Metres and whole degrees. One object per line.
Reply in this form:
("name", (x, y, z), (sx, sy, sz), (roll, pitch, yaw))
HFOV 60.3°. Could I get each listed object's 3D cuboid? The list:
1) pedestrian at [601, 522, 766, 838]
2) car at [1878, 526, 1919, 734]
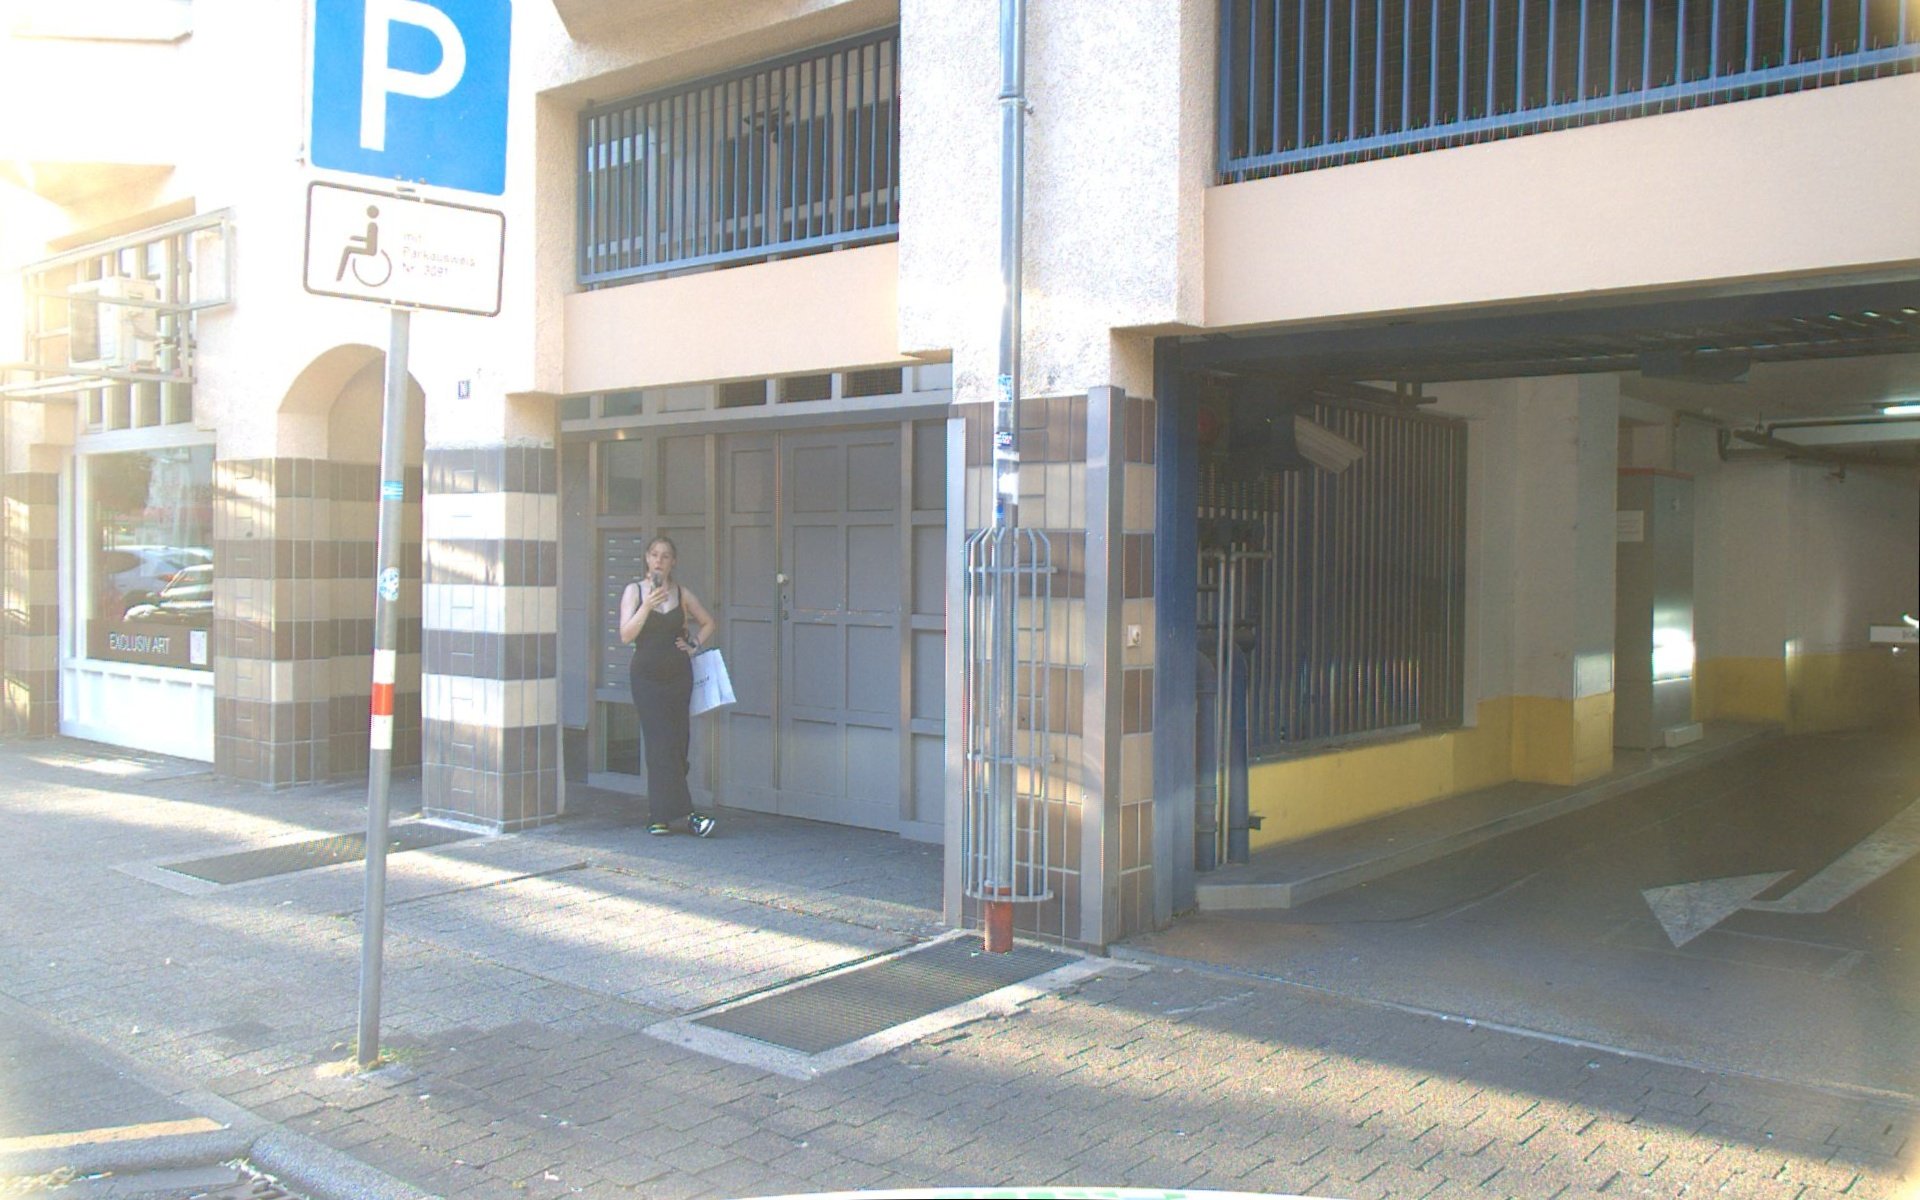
("pedestrian", (-1.472, 0.399, 8.776), (0.765, 1.599, 0.530), (0, 1, -23))
("car", (9.362, 0.184, 13.720), (4.214, 1.600, 1.792), (-2, 2, -42))
